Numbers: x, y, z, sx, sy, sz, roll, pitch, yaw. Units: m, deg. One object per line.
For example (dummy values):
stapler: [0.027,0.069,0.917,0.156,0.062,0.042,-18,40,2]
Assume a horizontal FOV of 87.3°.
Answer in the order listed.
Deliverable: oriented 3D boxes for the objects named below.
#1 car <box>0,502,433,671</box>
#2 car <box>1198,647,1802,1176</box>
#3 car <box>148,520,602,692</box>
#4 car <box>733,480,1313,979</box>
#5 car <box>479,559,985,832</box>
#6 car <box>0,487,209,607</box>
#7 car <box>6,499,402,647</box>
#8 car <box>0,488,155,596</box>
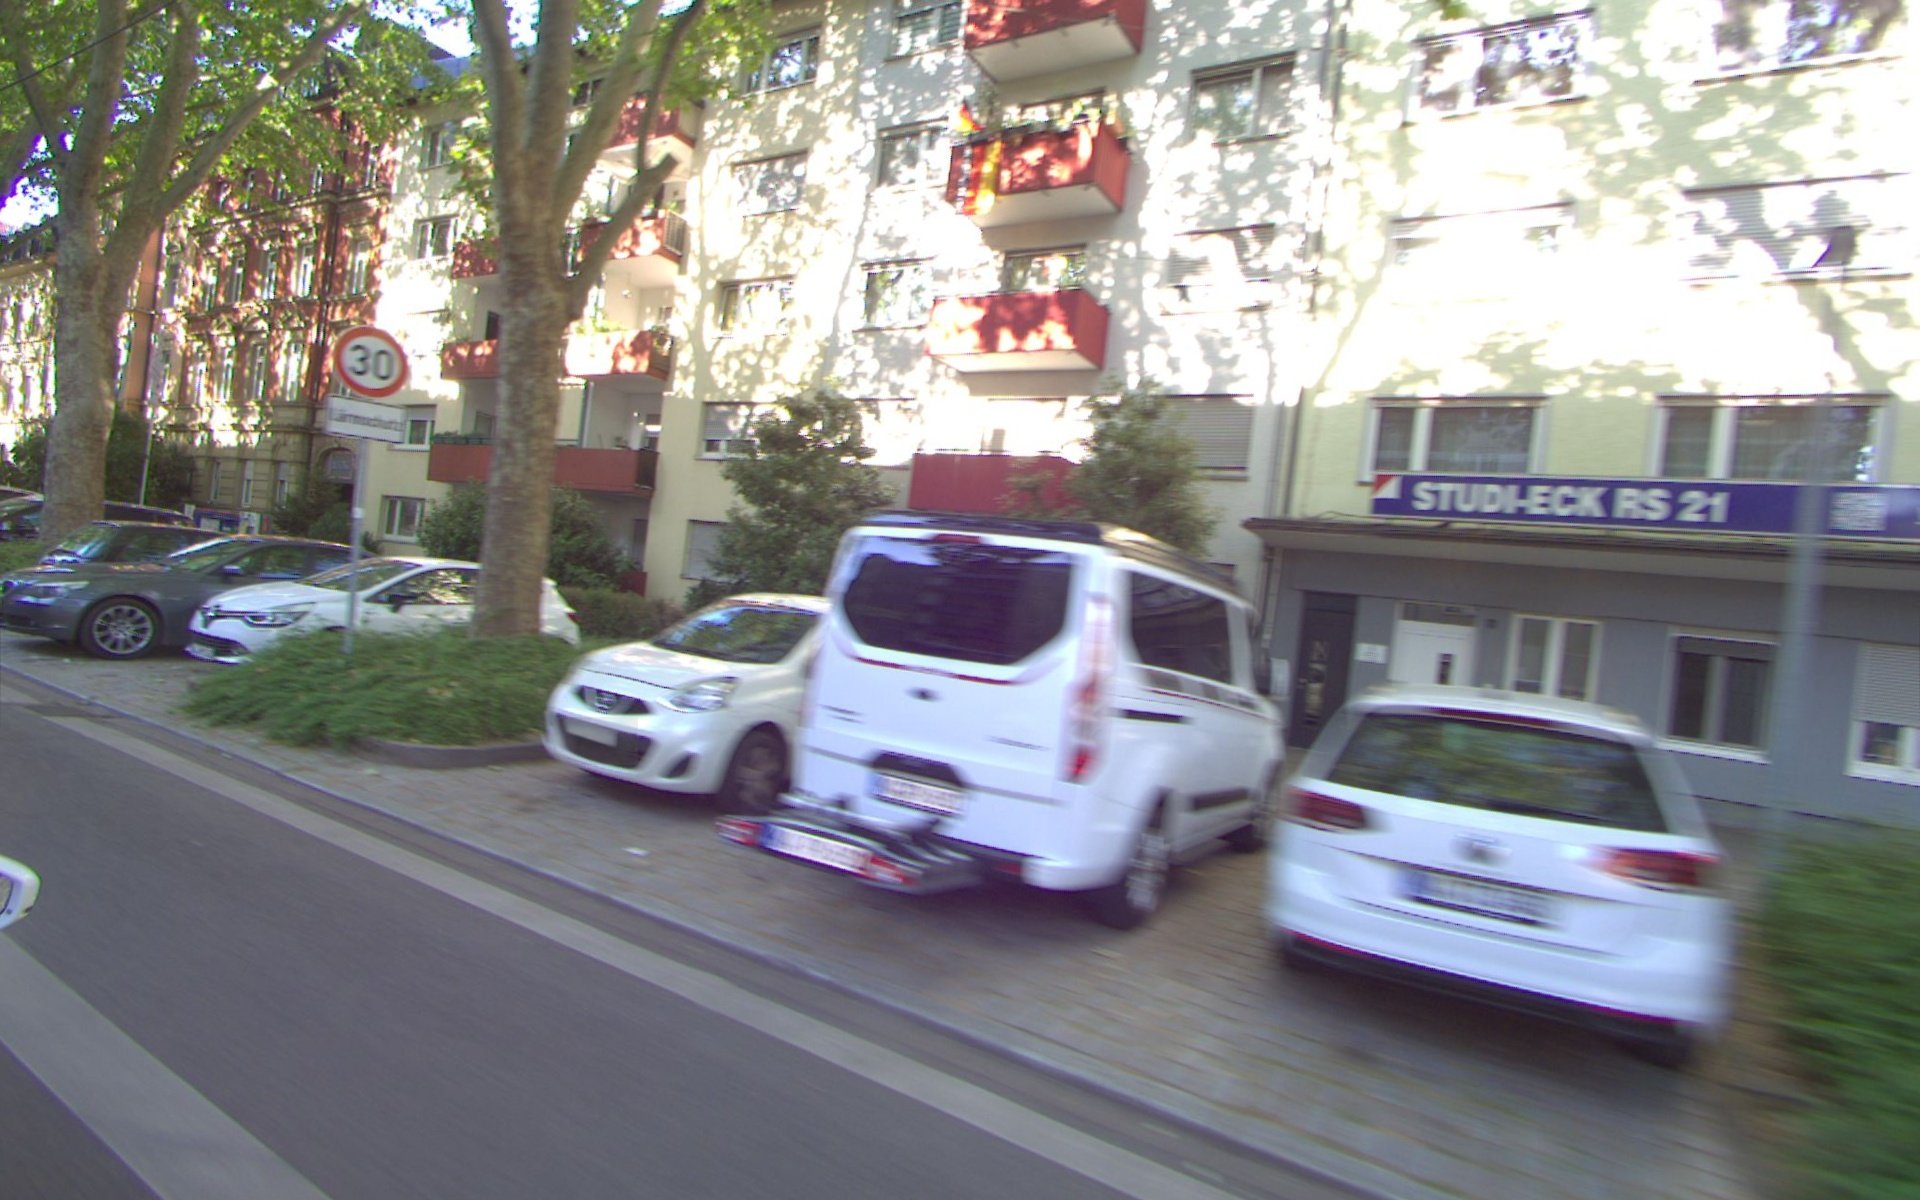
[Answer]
car: [-8.893,-0.080,11.992,1.899,1.532,4.150,7,-1,31]
car: [2.858,1.194,5.575,1.799,1.497,4.306,7,-1,29]
car: [-6.510,0.172,11.662,1.892,1.497,4.042,7,-1,32]
car: [0.858,0.683,6.835,1.966,2.101,4.553,7,-1,29]
car: [-1.511,0.704,8.109,1.694,1.497,3.906,7,-1,29]
car: [-15.665,-0.974,17.050,1.817,1.686,4.242,7,-1,30]
car: [-10.378,-0.289,14.141,1.731,1.532,3.994,7,-1,30]
car: [-17.521,-1.172,18.345,1.694,1.700,3.994,7,-1,30]
